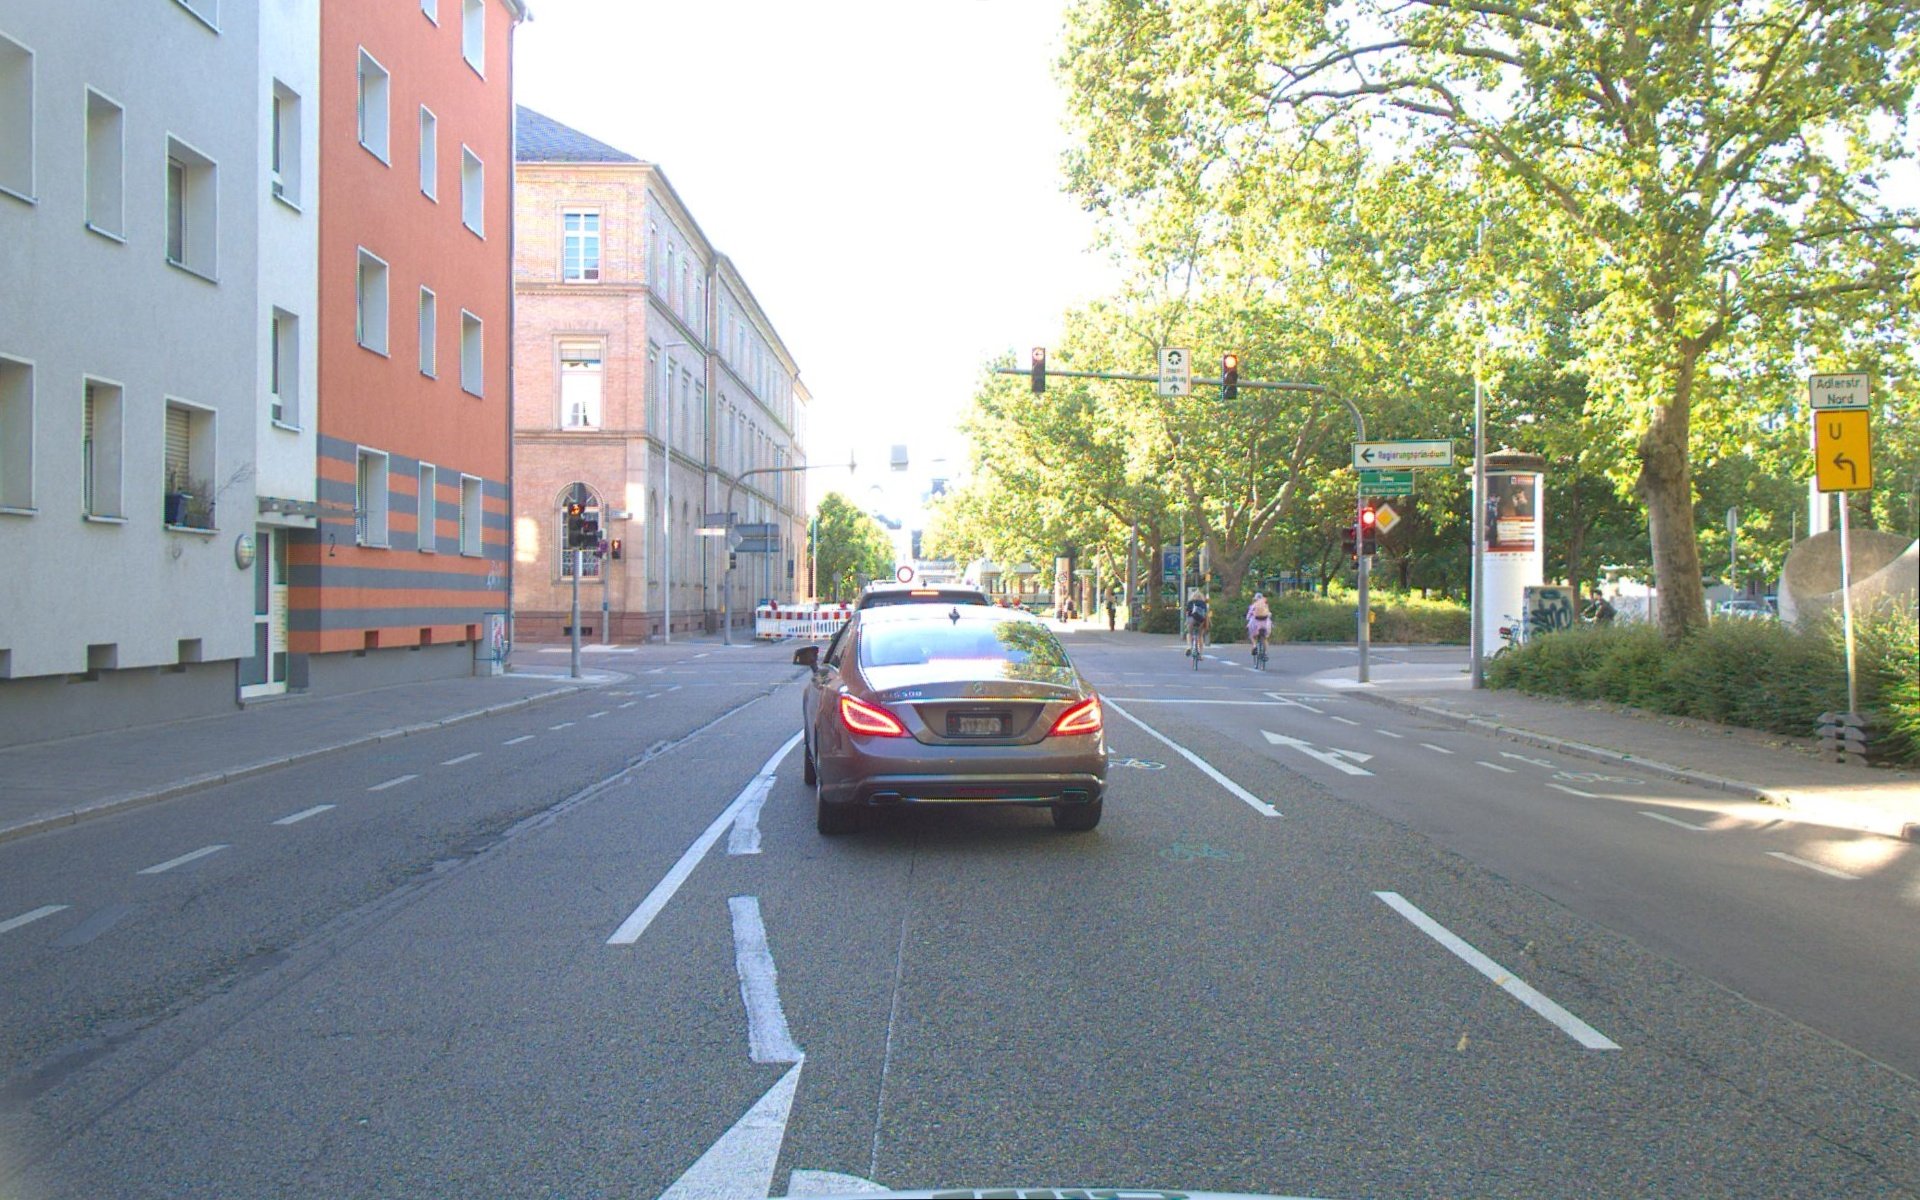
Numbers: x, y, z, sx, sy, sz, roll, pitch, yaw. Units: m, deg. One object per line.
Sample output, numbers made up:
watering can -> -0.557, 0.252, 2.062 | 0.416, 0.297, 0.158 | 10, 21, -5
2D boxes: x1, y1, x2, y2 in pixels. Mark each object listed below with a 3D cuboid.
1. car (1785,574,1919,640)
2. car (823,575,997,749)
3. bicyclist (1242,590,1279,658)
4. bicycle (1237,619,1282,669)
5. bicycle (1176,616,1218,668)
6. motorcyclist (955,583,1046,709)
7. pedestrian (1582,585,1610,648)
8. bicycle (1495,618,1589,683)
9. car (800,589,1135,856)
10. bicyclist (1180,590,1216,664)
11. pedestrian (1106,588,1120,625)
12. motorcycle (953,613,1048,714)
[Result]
car -> 25.586, 0.193, 46.415 | 3.912, 1.815, 2.001 | 0, 0, 4
car -> -0.537, 0.592, 17.652 | 1.647, 1.653, 3.839 | 0, 0, -2
bicyclist -> 6.453, 0.503, 35.558 | 0.588, 1.426, 0.931 | 2, 0, -1
bicycle -> 6.436, 0.929, 35.614 | 0.588, 1.002, 1.881 | 2, 0, -1
bicycle -> 5.077, 0.880, 35.438 | 0.598, 1.044, 1.731 | 2, 0, -1
motorcyclist -> 0.529, 0.594, 22.171 | 1.091, 1.641, 1.201 | 0, 0, -5
pedestrian -> 18.650, 0.481, 48.509 | 0.607, 1.815, 0.630 | 0, 0, 1
bicycle -> 9.705, 0.836, 27.595 | 1.387, 1.055, 0.538 | 0, 0, -5
car -> -0.152, 0.690, 11.611 | 1.787, 1.502, 4.346 | 0, 0, -7
bicyclist -> 5.089, 0.575, 35.446 | 0.598, 1.542, 0.889 | 2, 0, -1
pedestrian -> 6.949, 0.297, 75.127 | 0.548, 1.707, 0.564 | 0, 0, -1
motorcycle -> 0.501, 0.811, 22.190 | 0.987, 1.225, 2.662 | 0, 0, -5
